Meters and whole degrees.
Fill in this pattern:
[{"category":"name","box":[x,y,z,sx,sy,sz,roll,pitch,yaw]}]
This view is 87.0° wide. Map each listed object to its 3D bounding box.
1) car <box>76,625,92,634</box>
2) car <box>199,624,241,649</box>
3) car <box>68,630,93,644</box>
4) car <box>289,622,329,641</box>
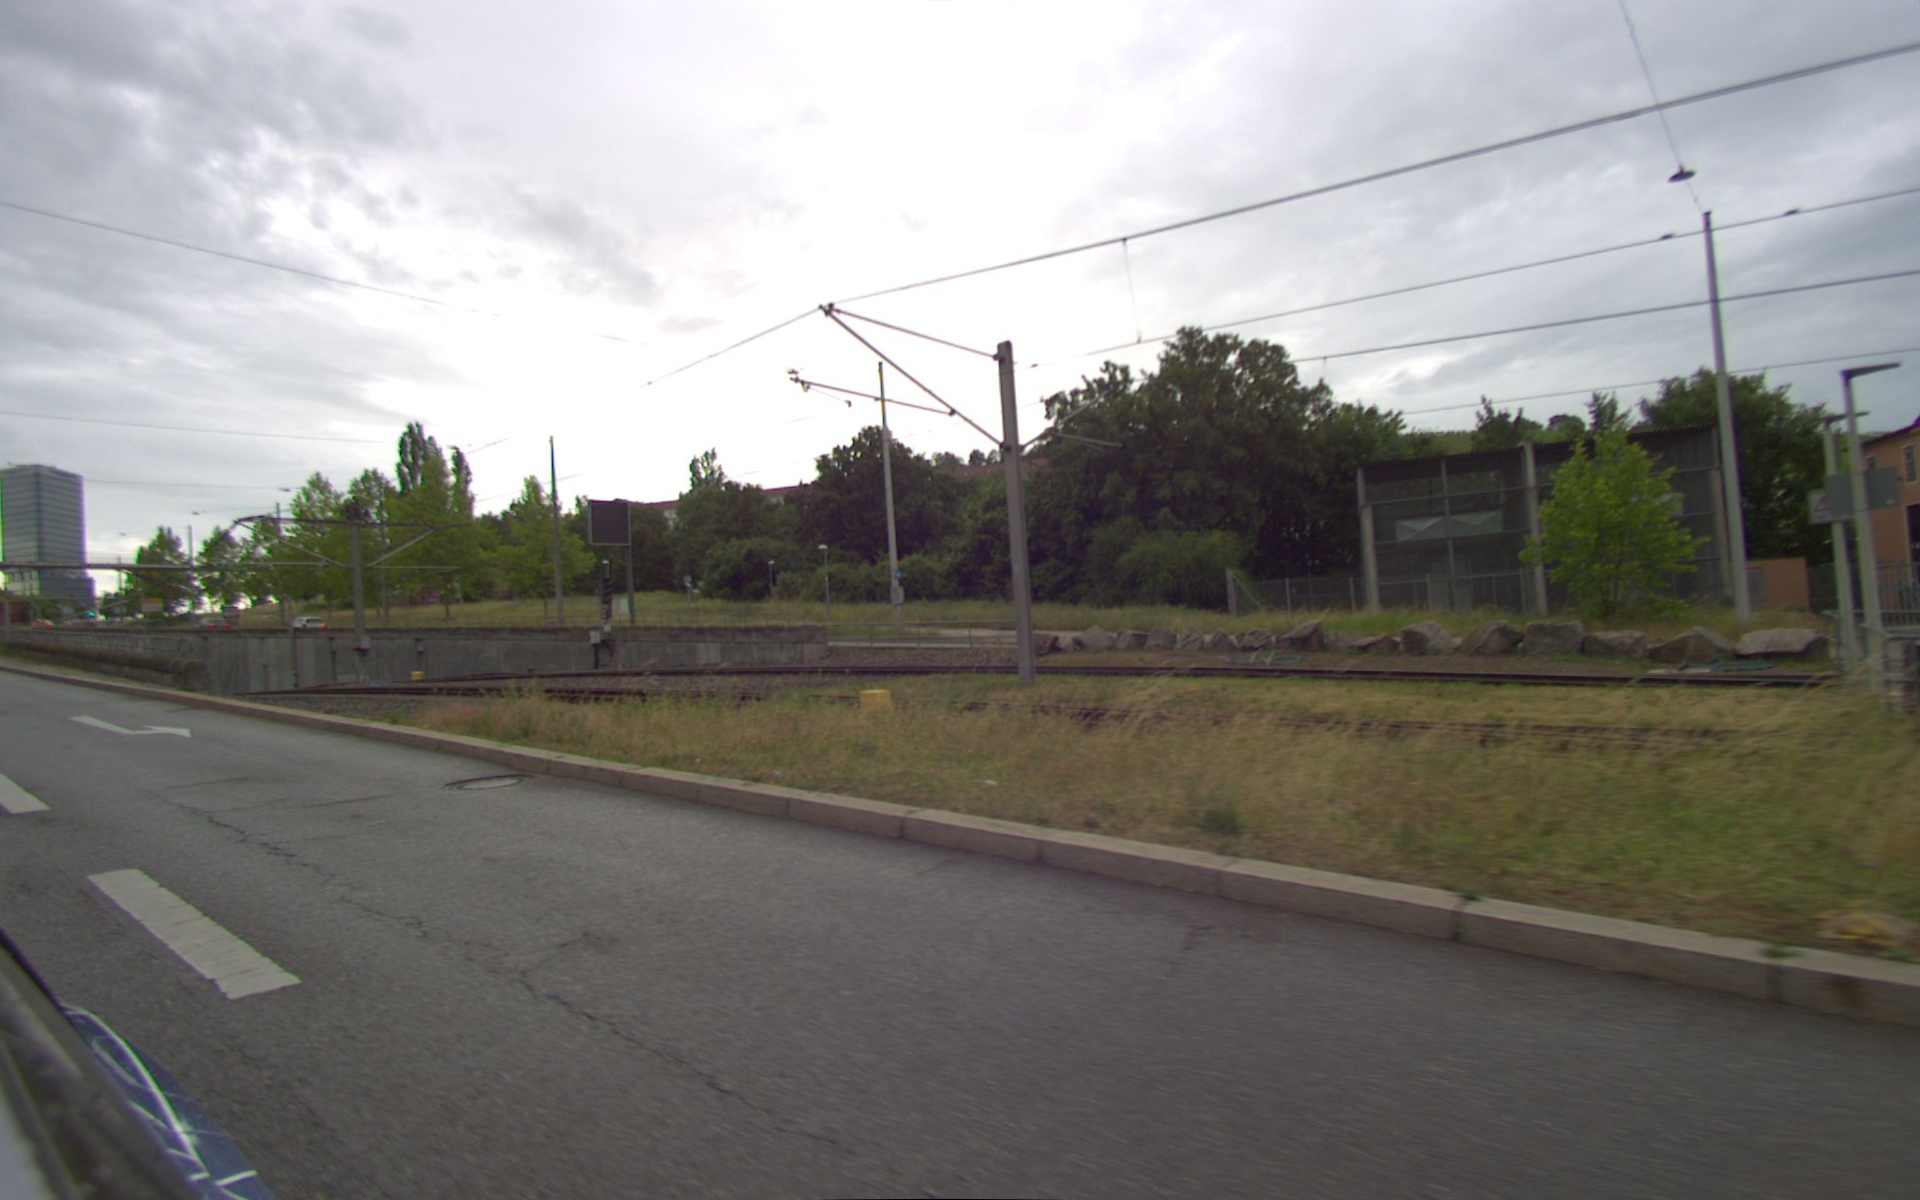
[{"category":"car","box":[-161.338,5.421,186.384,4.433,1.539,1.639,-3,-1,41]},{"category":"car","box":[-65.348,3.240,89.333,4.029,1.985,1.873,-2,2,38]},{"category":"car","box":[-118.110,4.963,135.910,4.356,1.656,1.871,-2,2,41]},{"category":"car","box":[-46.611,2.260,72.447,3.557,1.301,1.539,-3,-1,42]}]
